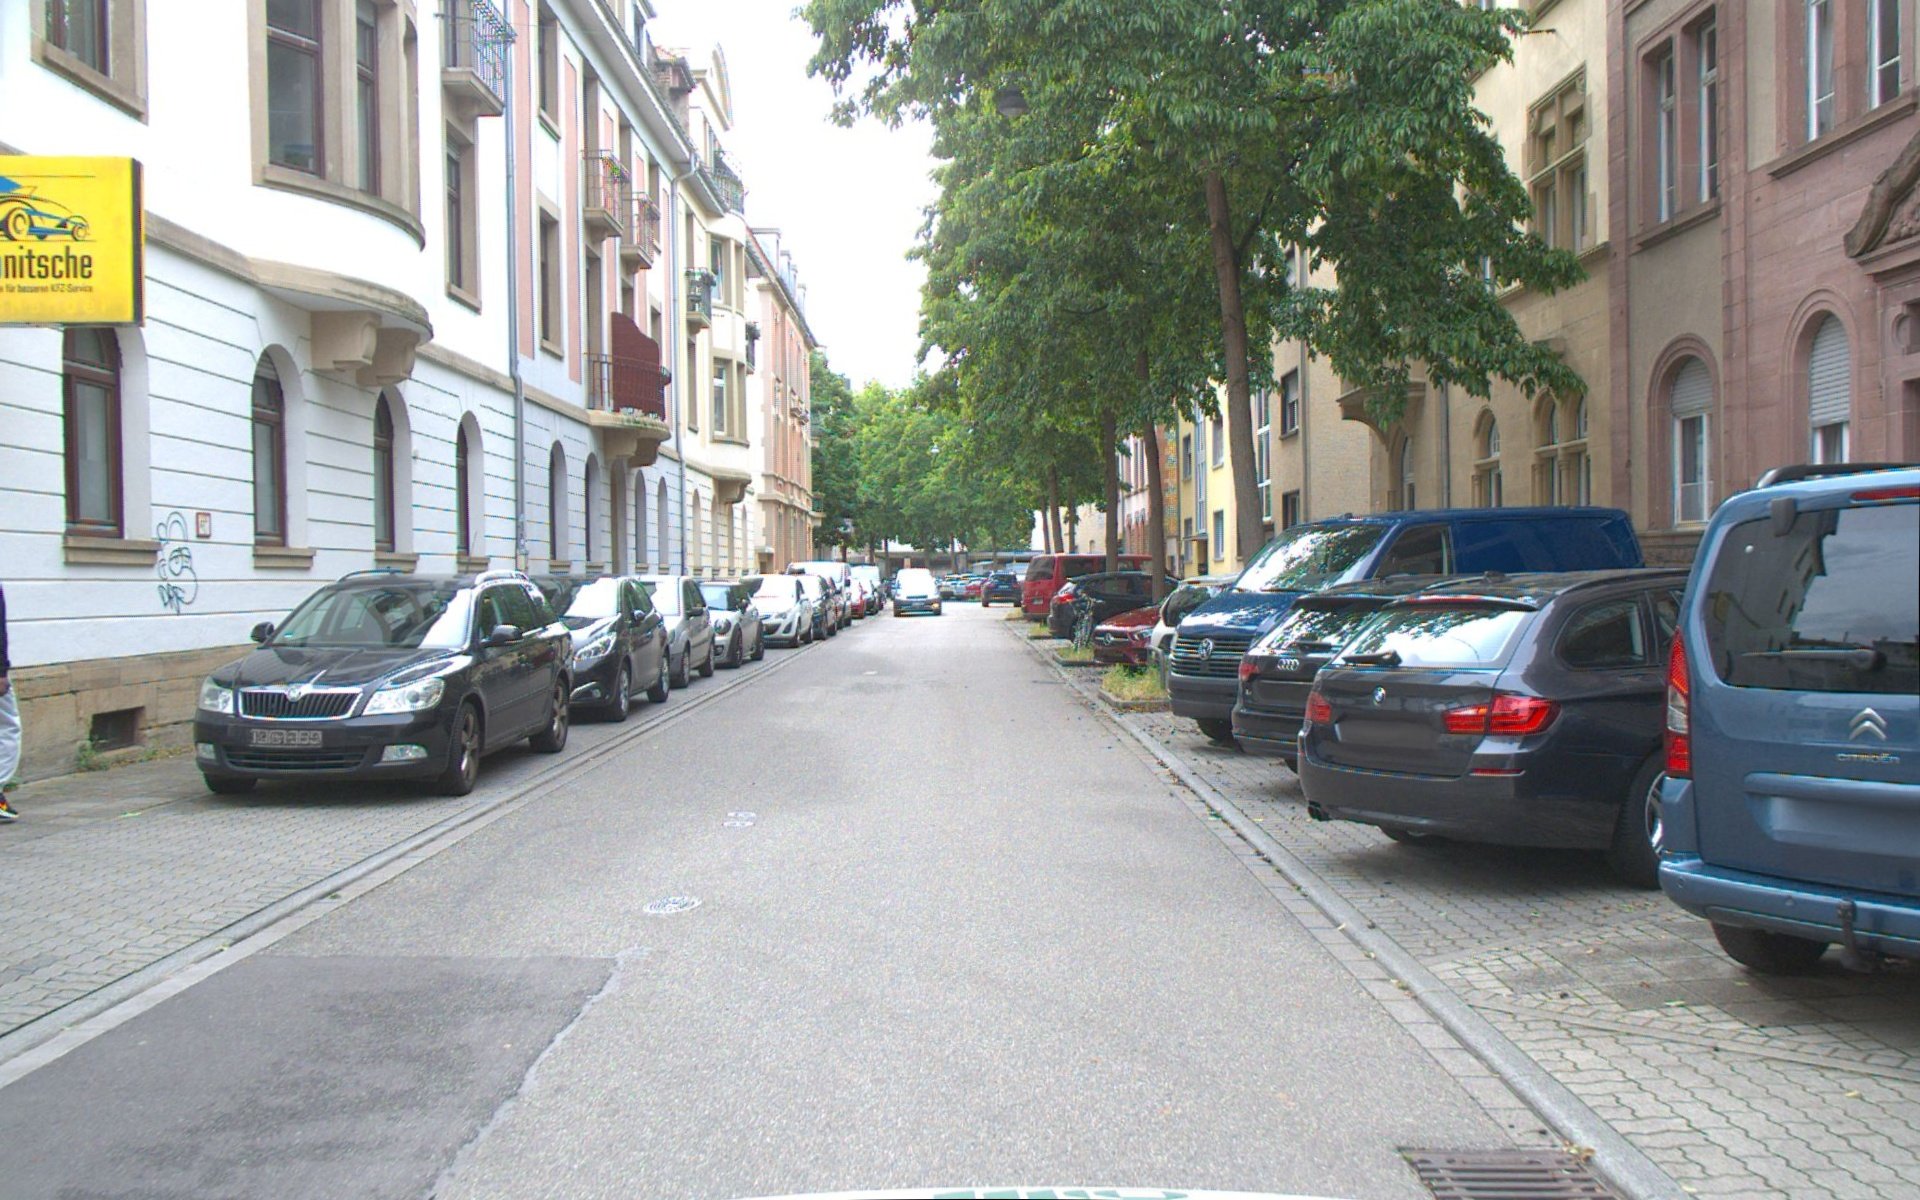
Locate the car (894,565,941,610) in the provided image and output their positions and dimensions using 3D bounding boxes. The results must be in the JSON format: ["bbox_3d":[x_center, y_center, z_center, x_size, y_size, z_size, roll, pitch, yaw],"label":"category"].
[{"bbox_3d":[-1.669,-0.514,65.982,1.784,1.673,3.753,2,1,-1],"label":"car"}]

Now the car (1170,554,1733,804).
[{"bbox_3d":[3.594,0.459,11.998,3.819,1.525,1.785,-1,1,-30],"label":"car"}]

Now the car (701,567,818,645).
[{"bbox_3d":[-4.174,0.089,35.010,1.953,1.500,4.000,2,1,0],"label":"car"}]

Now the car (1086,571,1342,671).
[{"bbox_3d":[3.877,0.305,25.524,3.638,1.433,1.574,-1,1,-6],"label":"car"}]

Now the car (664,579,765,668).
[{"bbox_3d":[-3.995,0.349,27.296,1.185,1.332,3.260,2,1,-1],"label":"car"}]

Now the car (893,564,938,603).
[{"bbox_3d":[-2.044,-0.763,77.285,1.868,1.707,4.001,2,1,1],"label":"car"}]

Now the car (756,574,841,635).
[{"bbox_3d":[-3.982,0.074,41.277,1.749,1.398,3.507,2,1,0],"label":"car"}]

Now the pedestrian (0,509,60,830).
[{"bbox_3d":[-5.554,0.374,9.370,0.534,1.770,0.656,1,1,-2],"label":"pedestrian"}]

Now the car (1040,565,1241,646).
[{"bbox_3d":[3.540,0.088,32.792,3.688,1.490,1.727,-1,1,-6],"label":"car"}]

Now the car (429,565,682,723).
[{"bbox_3d":[-4.189,0.392,17.736,1.792,1.451,3.801,2,1,-1],"label":"car"}]

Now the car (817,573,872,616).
[{"bbox_3d":[-4.422,-0.241,63.883,1.750,1.480,3.888,-4,1,0],"label":"car"}]

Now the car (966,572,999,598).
[{"bbox_3d":[1.372,-0.942,101.912,1.832,1.556,3.839,2,1,-1],"label":"car"}]

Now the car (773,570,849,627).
[{"bbox_3d":[-4.131,-0.068,46.470,1.749,1.469,3.888,2,1,0],"label":"car"}]

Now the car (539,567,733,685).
[{"bbox_3d":[-4.369,0.293,22.900,1.908,1.427,4.000,2,1,-1],"label":"car"}]

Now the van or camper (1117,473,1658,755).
[{"bbox_3d":[3.913,0.057,14.900,4.728,2.175,2.034,-1,1,-32],"label":"van or camper"}]

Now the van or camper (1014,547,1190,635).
[{"bbox_3d":[3.647,-0.231,42.511,4.100,2.122,1.935,2,1,-29],"label":"van or camper"}]

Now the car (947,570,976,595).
[{"bbox_3d":[0.091,-1.202,112.492,1.832,1.656,4.000,2,1,-1],"label":"car"}]

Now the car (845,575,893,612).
[{"bbox_3d":[-3.765,-0.291,68.858,1.749,1.398,3.888,2,1,0],"label":"car"}]

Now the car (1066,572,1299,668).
[{"bbox_3d":[3.814,0.332,28.707,3.688,1.490,1.727,2,1,-6],"label":"car"}]

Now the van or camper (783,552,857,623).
[{"bbox_3d":[-4.246,-0.407,50.635,1.843,2.002,4.407,2,1,0],"label":"van or camper"}]

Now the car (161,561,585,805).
[{"bbox_3d":[-4.076,0.485,12.221,1.753,1.506,4.022,0,1,-1],"label":"car"}]

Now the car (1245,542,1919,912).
[{"bbox_3d":[3.670,0.504,8.961,3.971,1.586,1.865,-1,1,-32],"label":"car"}]

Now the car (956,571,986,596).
[{"bbox_3d":[0.683,-1.079,106.919,1.832,1.557,3.999,1,0,-1],"label":"car"}]

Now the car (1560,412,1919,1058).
[{"bbox_3d":[4.463,0.300,6.137,4.129,1.902,1.980,-3,0,-30],"label":"car"}]

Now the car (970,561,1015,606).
[{"bbox_3d":[1.551,-0.805,79.390,1.953,2.048,4.000,2,1,-1],"label":"car"}]
